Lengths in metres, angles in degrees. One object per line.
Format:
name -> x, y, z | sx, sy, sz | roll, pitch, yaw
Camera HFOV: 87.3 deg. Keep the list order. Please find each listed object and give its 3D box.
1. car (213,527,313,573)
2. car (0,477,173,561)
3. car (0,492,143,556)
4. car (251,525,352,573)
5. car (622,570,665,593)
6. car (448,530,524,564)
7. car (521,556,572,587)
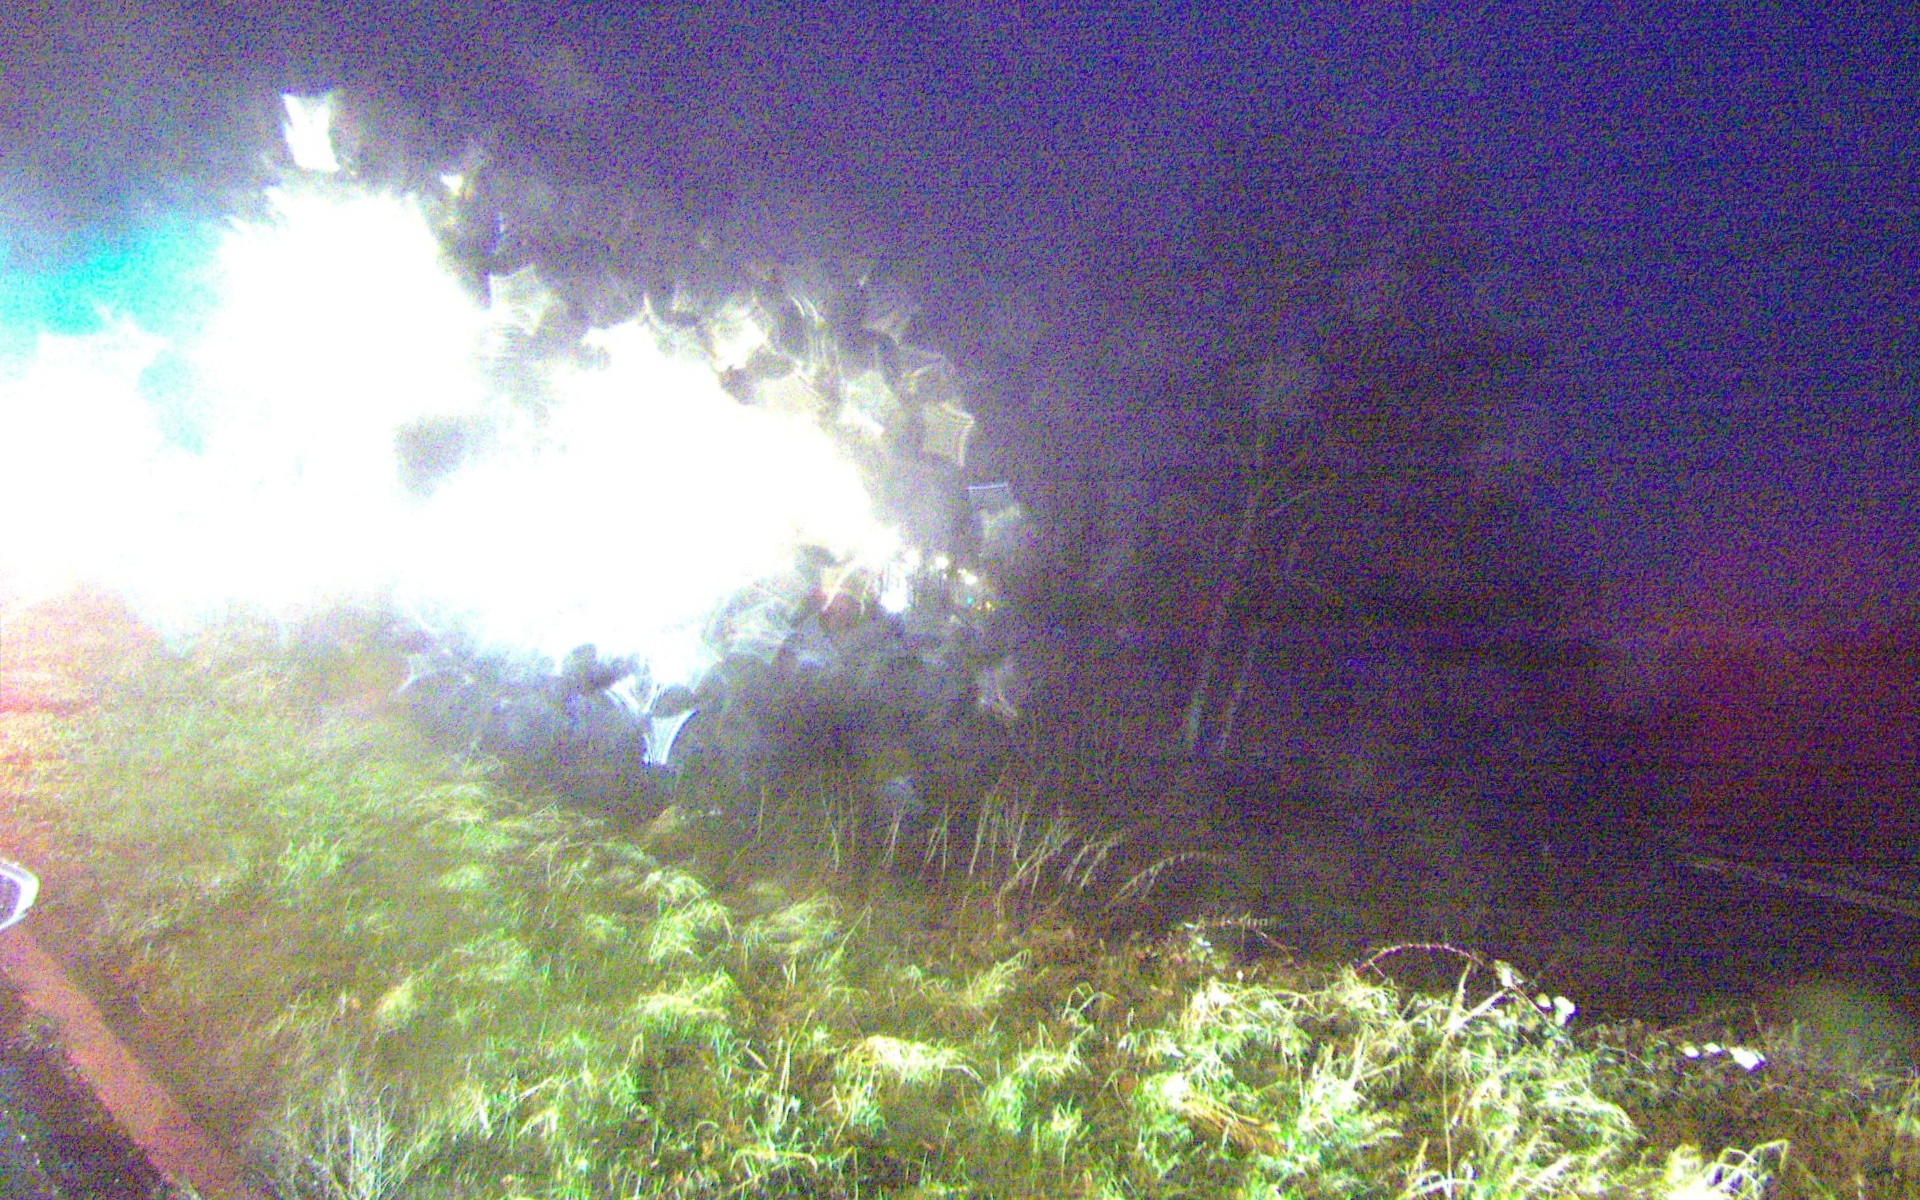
car -> -35.005, -2.479, 50.658 | 1.732, 1.734, 4.129 | 7, -2, 5
car -> -38.263, -3.457, 44.232 | 2.213, 2.741, 5.615 | 7, -2, 6
car -> -35.306, -2.968, 40.083 | 1.732, 1.870, 4.129 | 7, -2, 5
car -> -31.298, -2.386, 47.961 | 1.770, 1.685, 3.981 | 7, -2, 5
car -> -26.475, -1.543, 84.259 | 1.784, 1.597, 4.307 | 6, 0, 4
car -> -26.746, -2.971, 56.981 | 1.748, 1.502, 4.414 | 3, -1, 7
car -> -32.043, -2.201, 78.015 | 1.794, 1.870, 4.005 | 7, -2, 5
